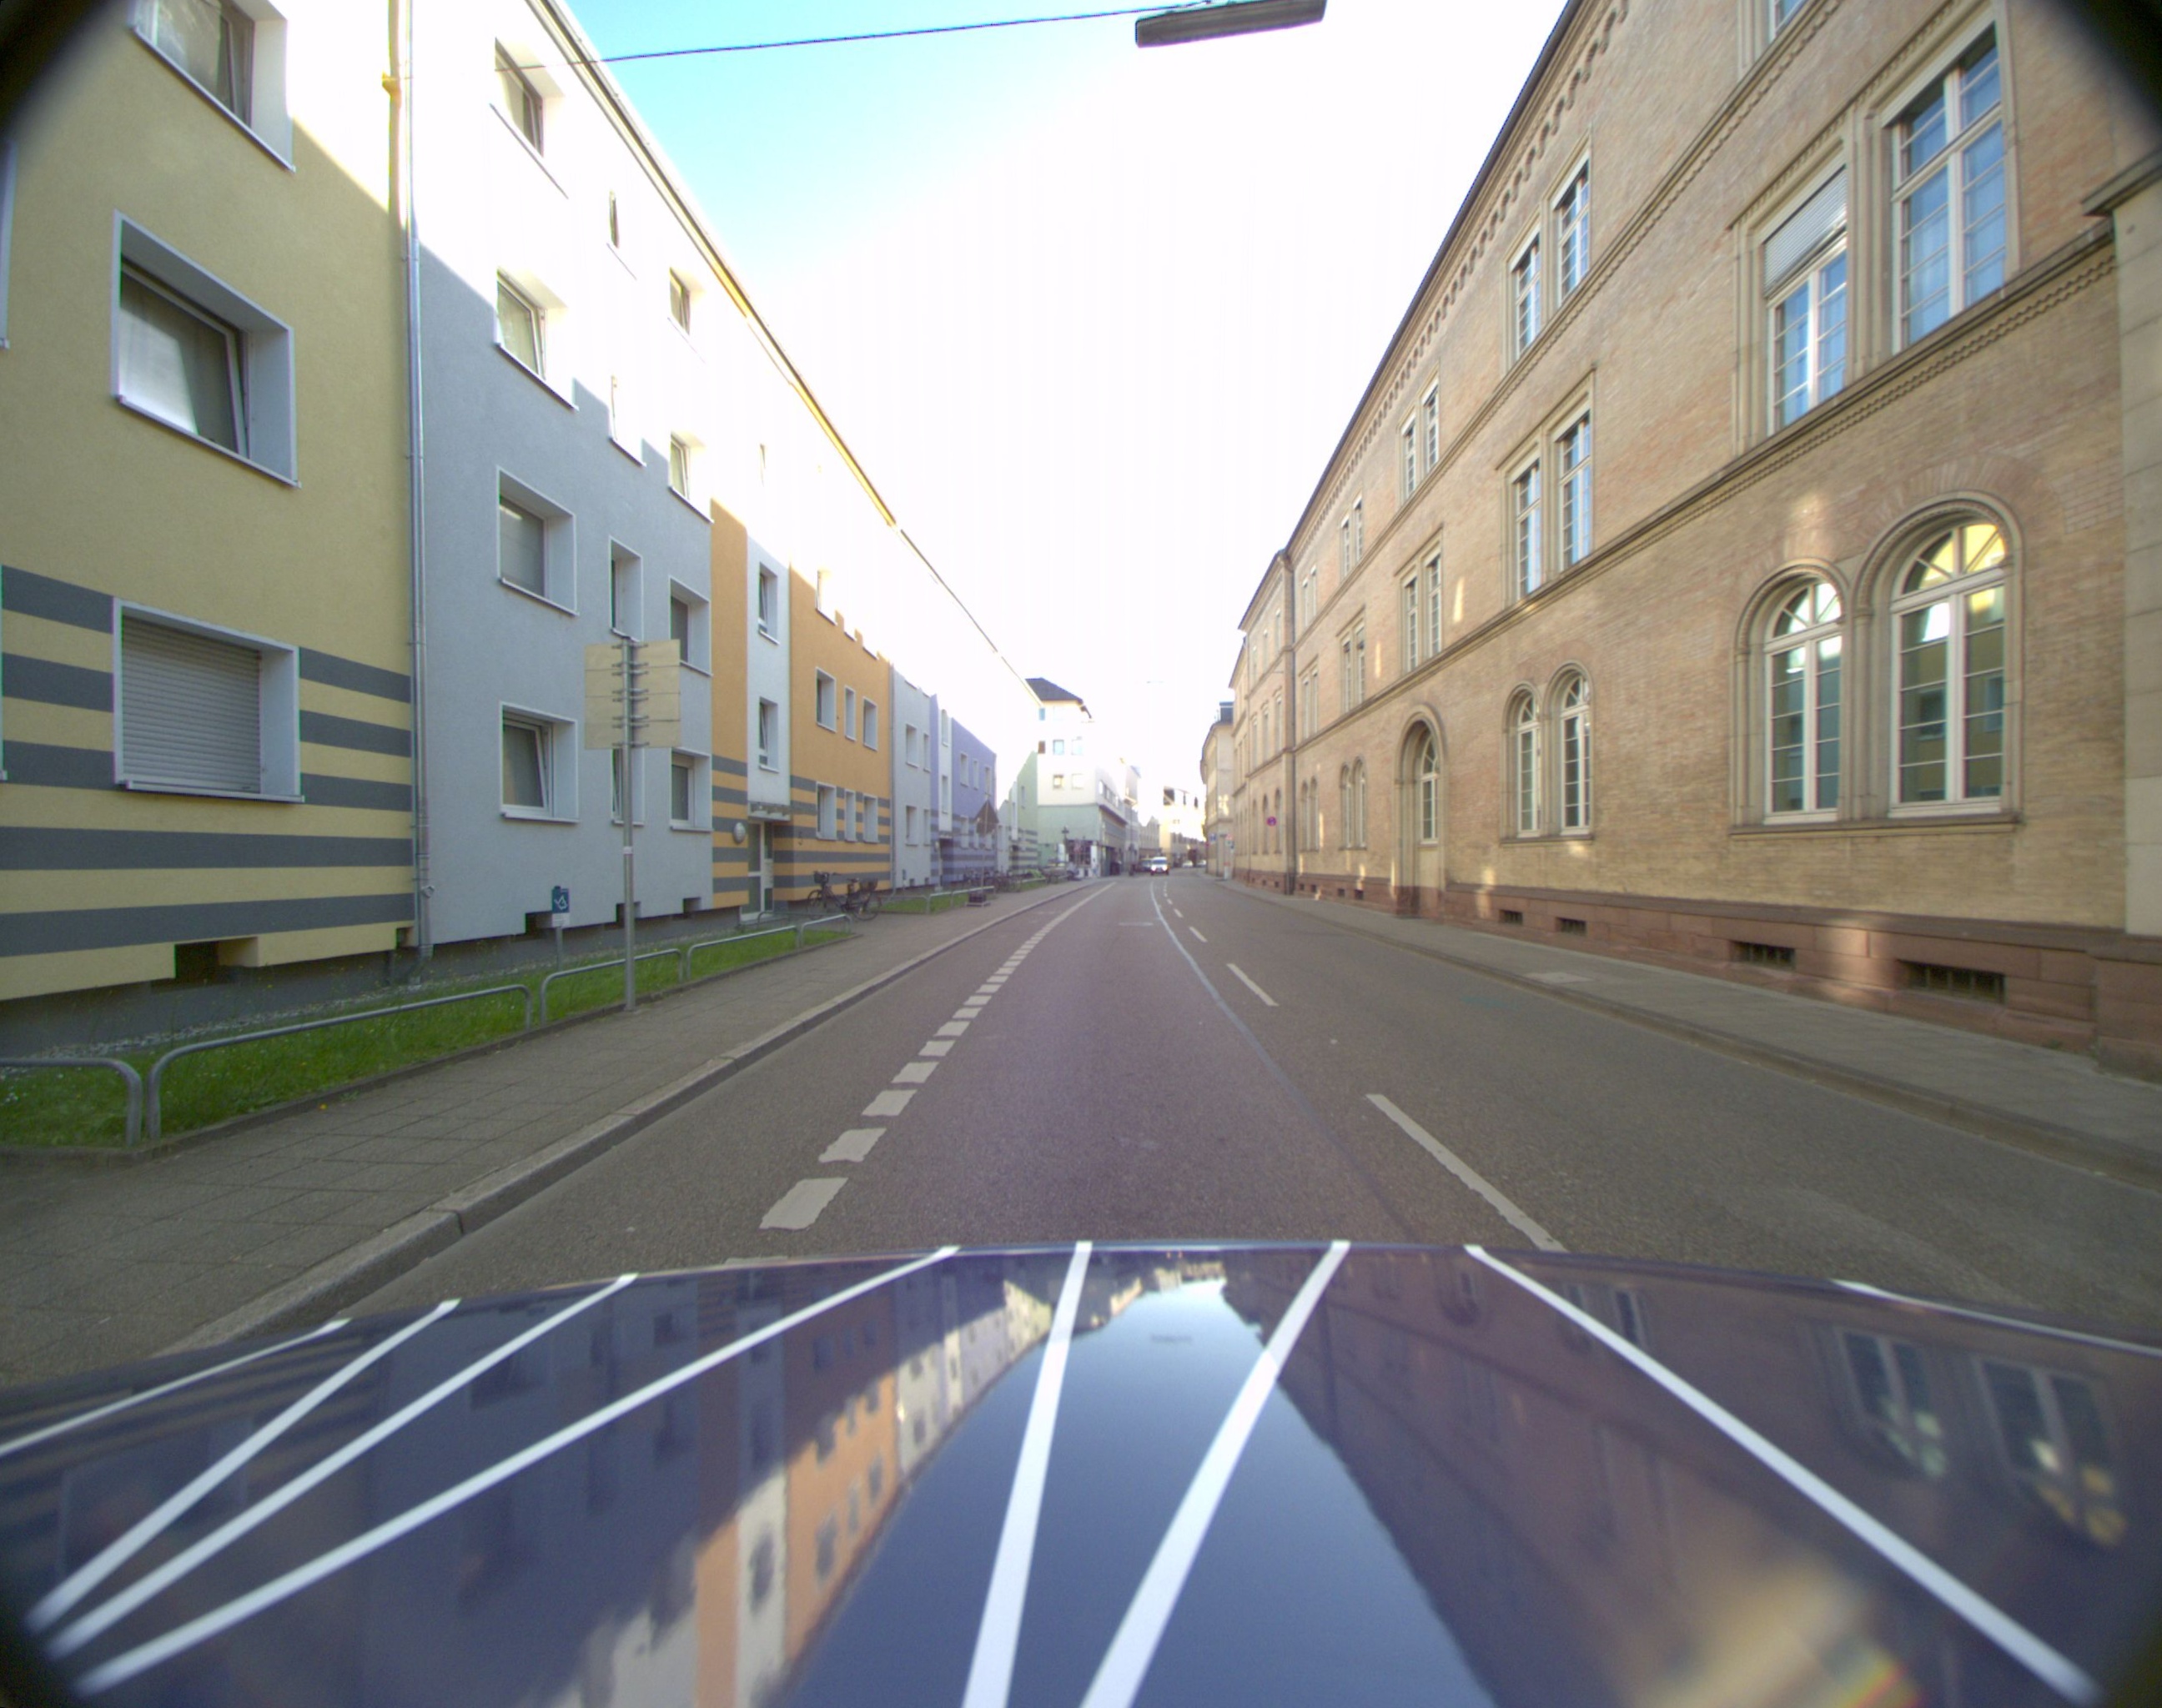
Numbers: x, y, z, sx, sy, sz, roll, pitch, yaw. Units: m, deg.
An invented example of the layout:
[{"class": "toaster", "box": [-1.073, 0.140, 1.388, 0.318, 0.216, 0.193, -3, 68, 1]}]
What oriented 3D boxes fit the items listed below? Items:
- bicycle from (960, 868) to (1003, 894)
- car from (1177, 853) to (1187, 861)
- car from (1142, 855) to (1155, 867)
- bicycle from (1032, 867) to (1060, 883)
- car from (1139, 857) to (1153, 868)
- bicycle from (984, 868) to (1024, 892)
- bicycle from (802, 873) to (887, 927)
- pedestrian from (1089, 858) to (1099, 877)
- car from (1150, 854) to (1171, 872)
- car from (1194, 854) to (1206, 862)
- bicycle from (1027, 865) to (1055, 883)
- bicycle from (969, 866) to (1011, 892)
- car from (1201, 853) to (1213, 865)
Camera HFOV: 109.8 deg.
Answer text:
[{"class": "bicycle", "box": [-4.157, 1.124, 31.835, 1.710, 1.039, 0.636, 1, 0, 2]}, {"class": "car", "box": [19.920, 0.587, 149.630, 1.534, 1.714, 3.743, 0, 0, 16]}, {"class": "car", "box": [9.459, 0.976, 106.023, 1.535, 1.714, 3.741, 0, 0, 8]}, {"class": "bicycle", "box": [-2.179, 1.314, 47.557, 1.711, 0.972, 0.516, 1, 0, -2]}, {"class": "car", "box": [8.632, 1.089, 100.748, 1.634, 1.405, 3.687, 0, 0, 8]}, {"class": "bicycle", "box": [-3.395, 1.149, 33.738, 1.711, 1.029, 0.636, 1, 0, -2]}, {"class": "bicycle", "box": [-5.295, 1.022, 17.082, 1.711, 1.152, 0.636, 1, 0, -2]}, {"class": "pedestrian", "box": [1.071, 1.081, 61.459, 0.707, 1.510, 0.662, -1, 0, 8]}, {"class": "car", "box": [8.029, 0.889, 76.218, 1.922, 1.712, 4.963, 0, 0, 8]}, {"class": "car", "box": [25.649, 0.774, 163.652, 1.925, 1.714, 4.236, 0, 0, 19]}, {"class": "bicycle", "box": [-2.426, 1.221, 46.097, 1.711, 1.097, 0.584, 1, 0, -2]}, {"class": "bicycle", "box": [-3.955, 1.085, 32.977, 1.710, 1.075, 0.636, 1, 0, 1]}, {"class": "car", "box": [19.924, 0.778, 120.241, 1.662, 1.714, 3.743, 0, 0, 14]}]
